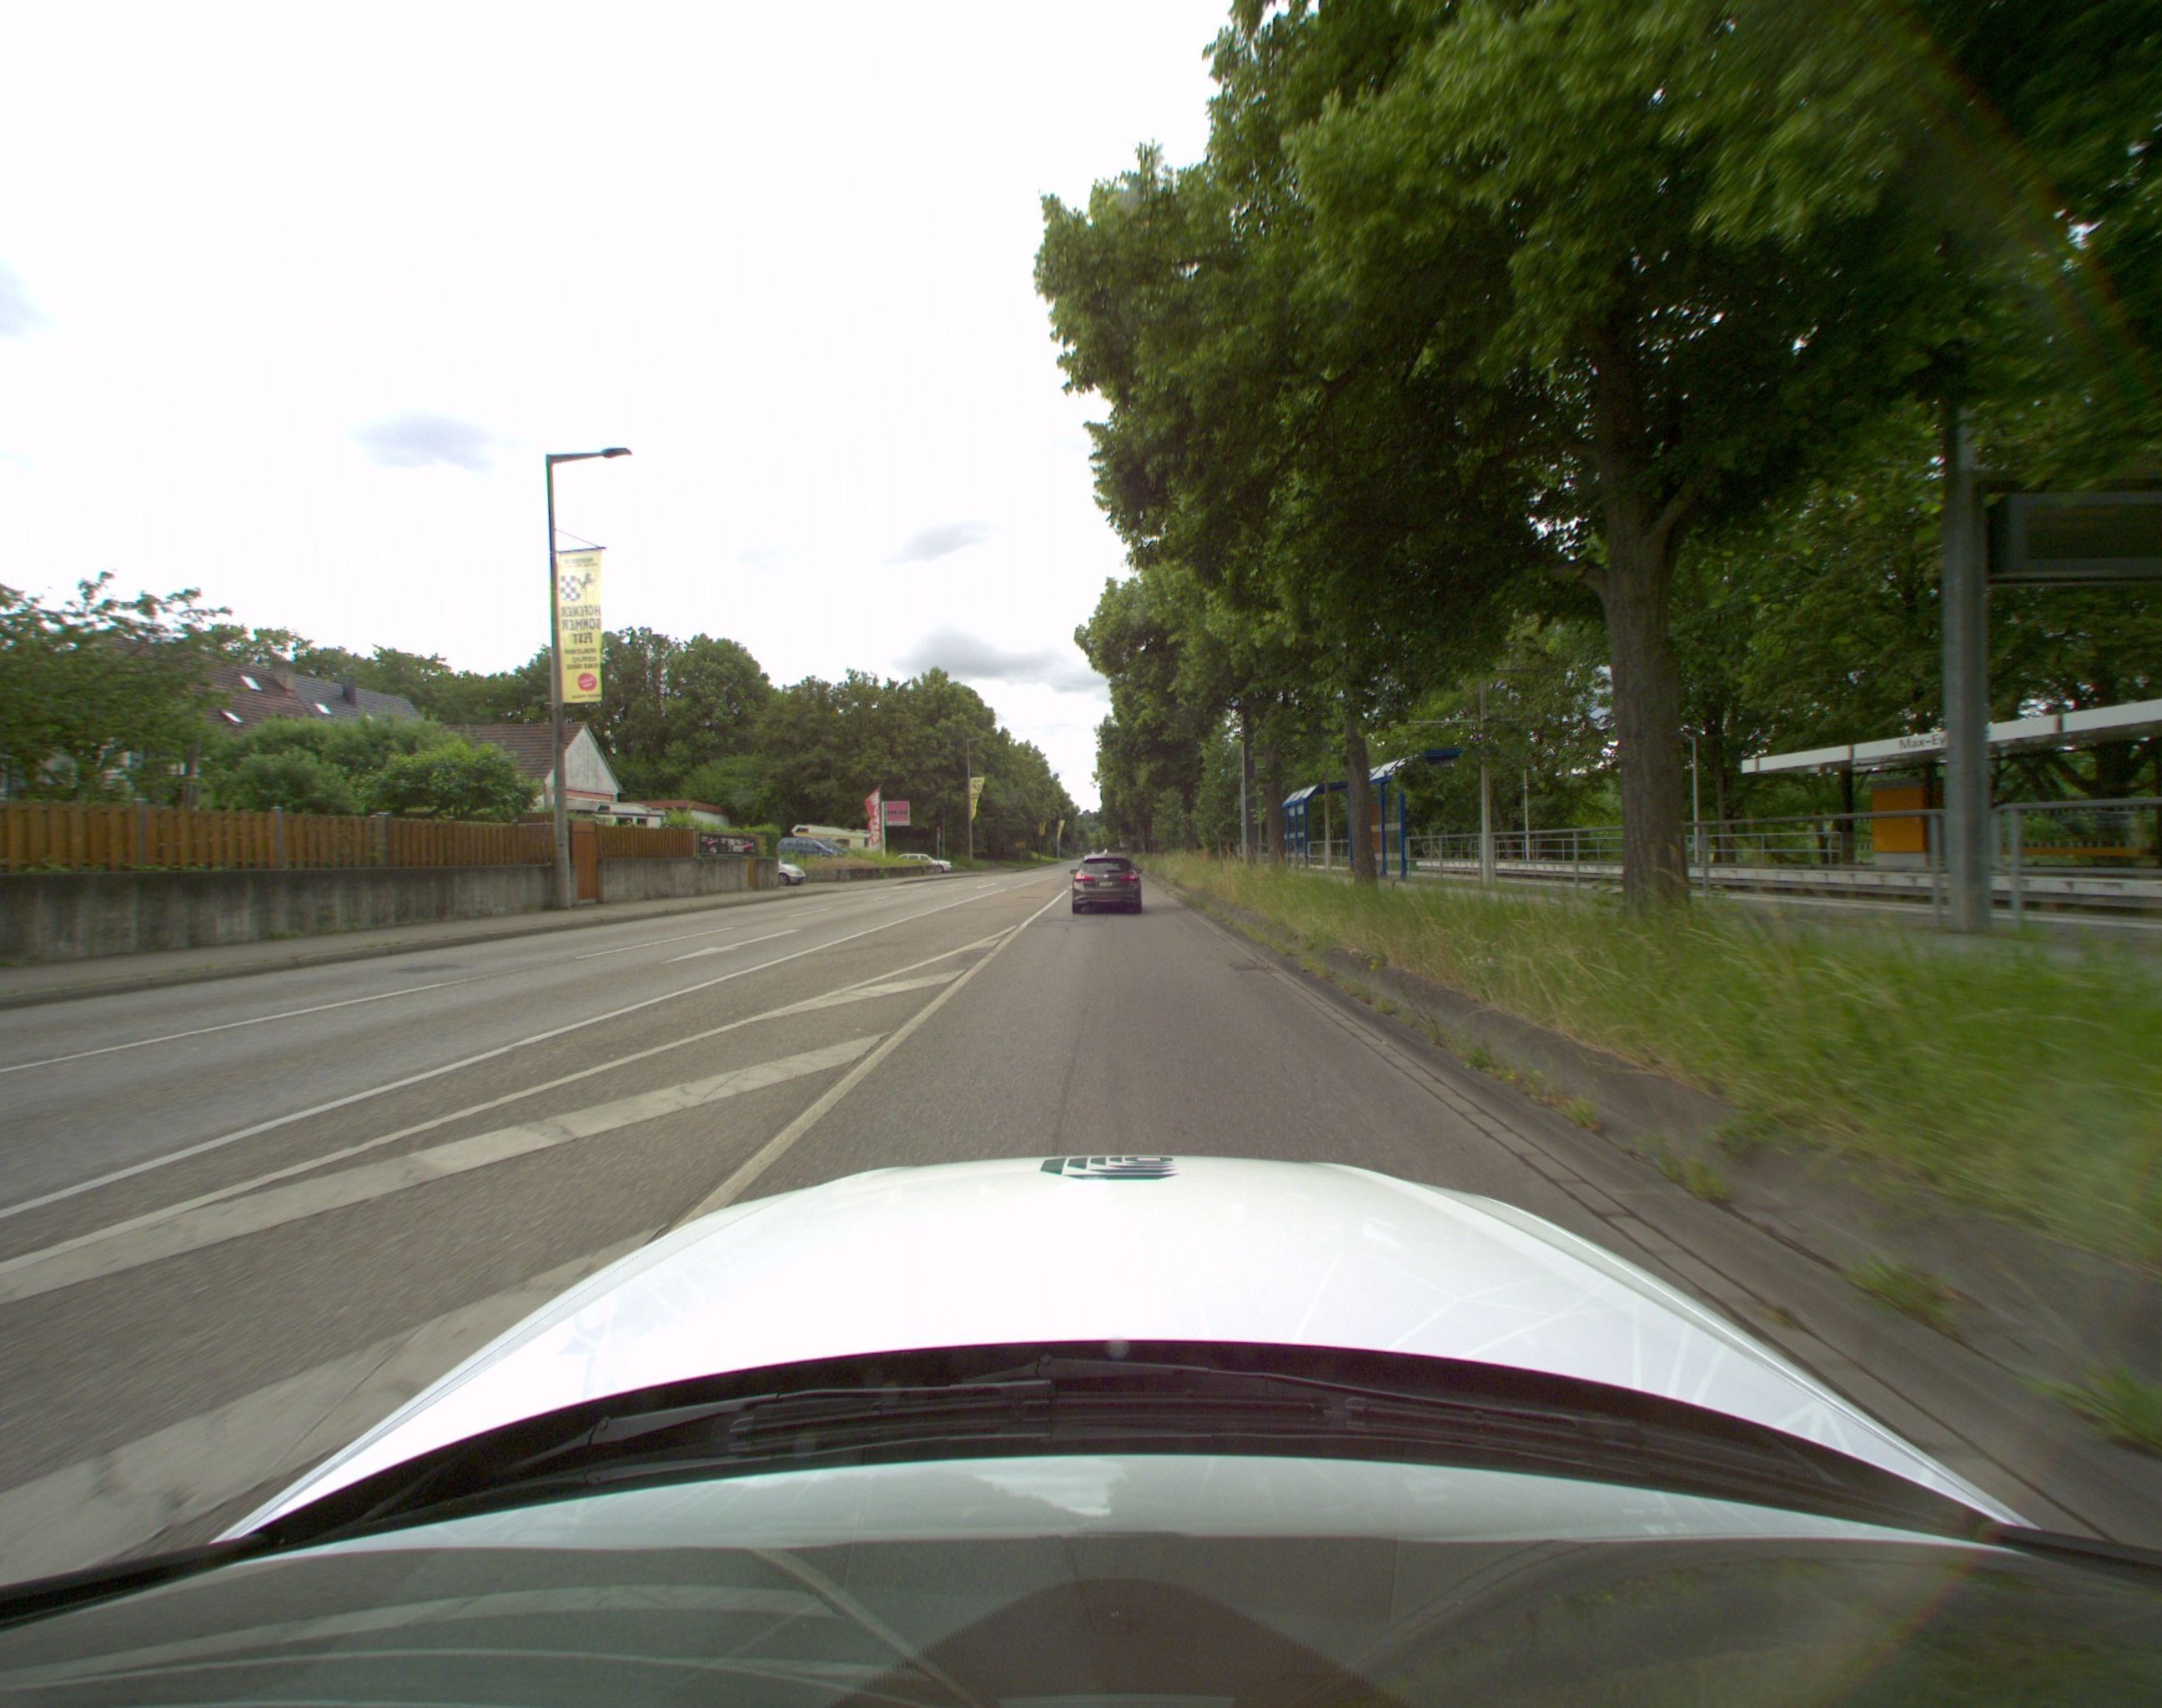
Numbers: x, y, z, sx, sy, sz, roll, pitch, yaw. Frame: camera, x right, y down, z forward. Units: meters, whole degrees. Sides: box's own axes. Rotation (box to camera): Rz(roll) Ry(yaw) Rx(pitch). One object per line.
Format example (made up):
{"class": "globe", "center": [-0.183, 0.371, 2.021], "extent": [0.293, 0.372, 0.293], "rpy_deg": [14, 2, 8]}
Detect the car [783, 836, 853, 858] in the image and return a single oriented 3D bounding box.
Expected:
{"class": "car", "center": [-17.664, -0.465, 54.871], "extent": [3.967, 1.370, 2.003], "rpy_deg": [1, -1, 6]}

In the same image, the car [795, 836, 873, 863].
{"class": "car", "center": [-14.362, -0.241, 47.455], "extent": [3.967, 1.492, 1.650], "rpy_deg": [1, -1, 6]}

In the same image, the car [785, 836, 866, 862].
{"class": "car", "center": [-14.231, -0.270, 45.493], "extent": [3.967, 1.411, 1.536], "rpy_deg": [1, -1, 6]}

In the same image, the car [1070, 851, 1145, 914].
{"class": "car", "center": [0.769, 0.703, 21.891], "extent": [1.829, 1.528, 3.932], "rpy_deg": [0, 0, 3]}

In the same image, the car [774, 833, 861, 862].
{"class": "car", "center": [-14.065, -0.337, 43.619], "extent": [3.967, 1.497, 1.862], "rpy_deg": [1, -1, 6]}

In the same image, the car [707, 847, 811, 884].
{"class": "car", "center": [-14.922, 0.526, 37.892], "extent": [3.971, 1.617, 2.001], "rpy_deg": [1, -1, 2]}

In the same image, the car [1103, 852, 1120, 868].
{"class": "car", "center": [2.995, 0.554, 78.918], "extent": [1.496, 1.528, 3.674], "rpy_deg": [0, 0, 3]}

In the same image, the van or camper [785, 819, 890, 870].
{"class": "van or camper", "center": [-18.973, -0.703, 63.717], "extent": [7.115, 3.371, 2.797], "rpy_deg": [4, 0, 1]}

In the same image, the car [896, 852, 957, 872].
{"class": "car", "center": [-12.090, 0.623, 63.785], "extent": [4.362, 1.441, 1.960], "rpy_deg": [1, 0, -1]}
